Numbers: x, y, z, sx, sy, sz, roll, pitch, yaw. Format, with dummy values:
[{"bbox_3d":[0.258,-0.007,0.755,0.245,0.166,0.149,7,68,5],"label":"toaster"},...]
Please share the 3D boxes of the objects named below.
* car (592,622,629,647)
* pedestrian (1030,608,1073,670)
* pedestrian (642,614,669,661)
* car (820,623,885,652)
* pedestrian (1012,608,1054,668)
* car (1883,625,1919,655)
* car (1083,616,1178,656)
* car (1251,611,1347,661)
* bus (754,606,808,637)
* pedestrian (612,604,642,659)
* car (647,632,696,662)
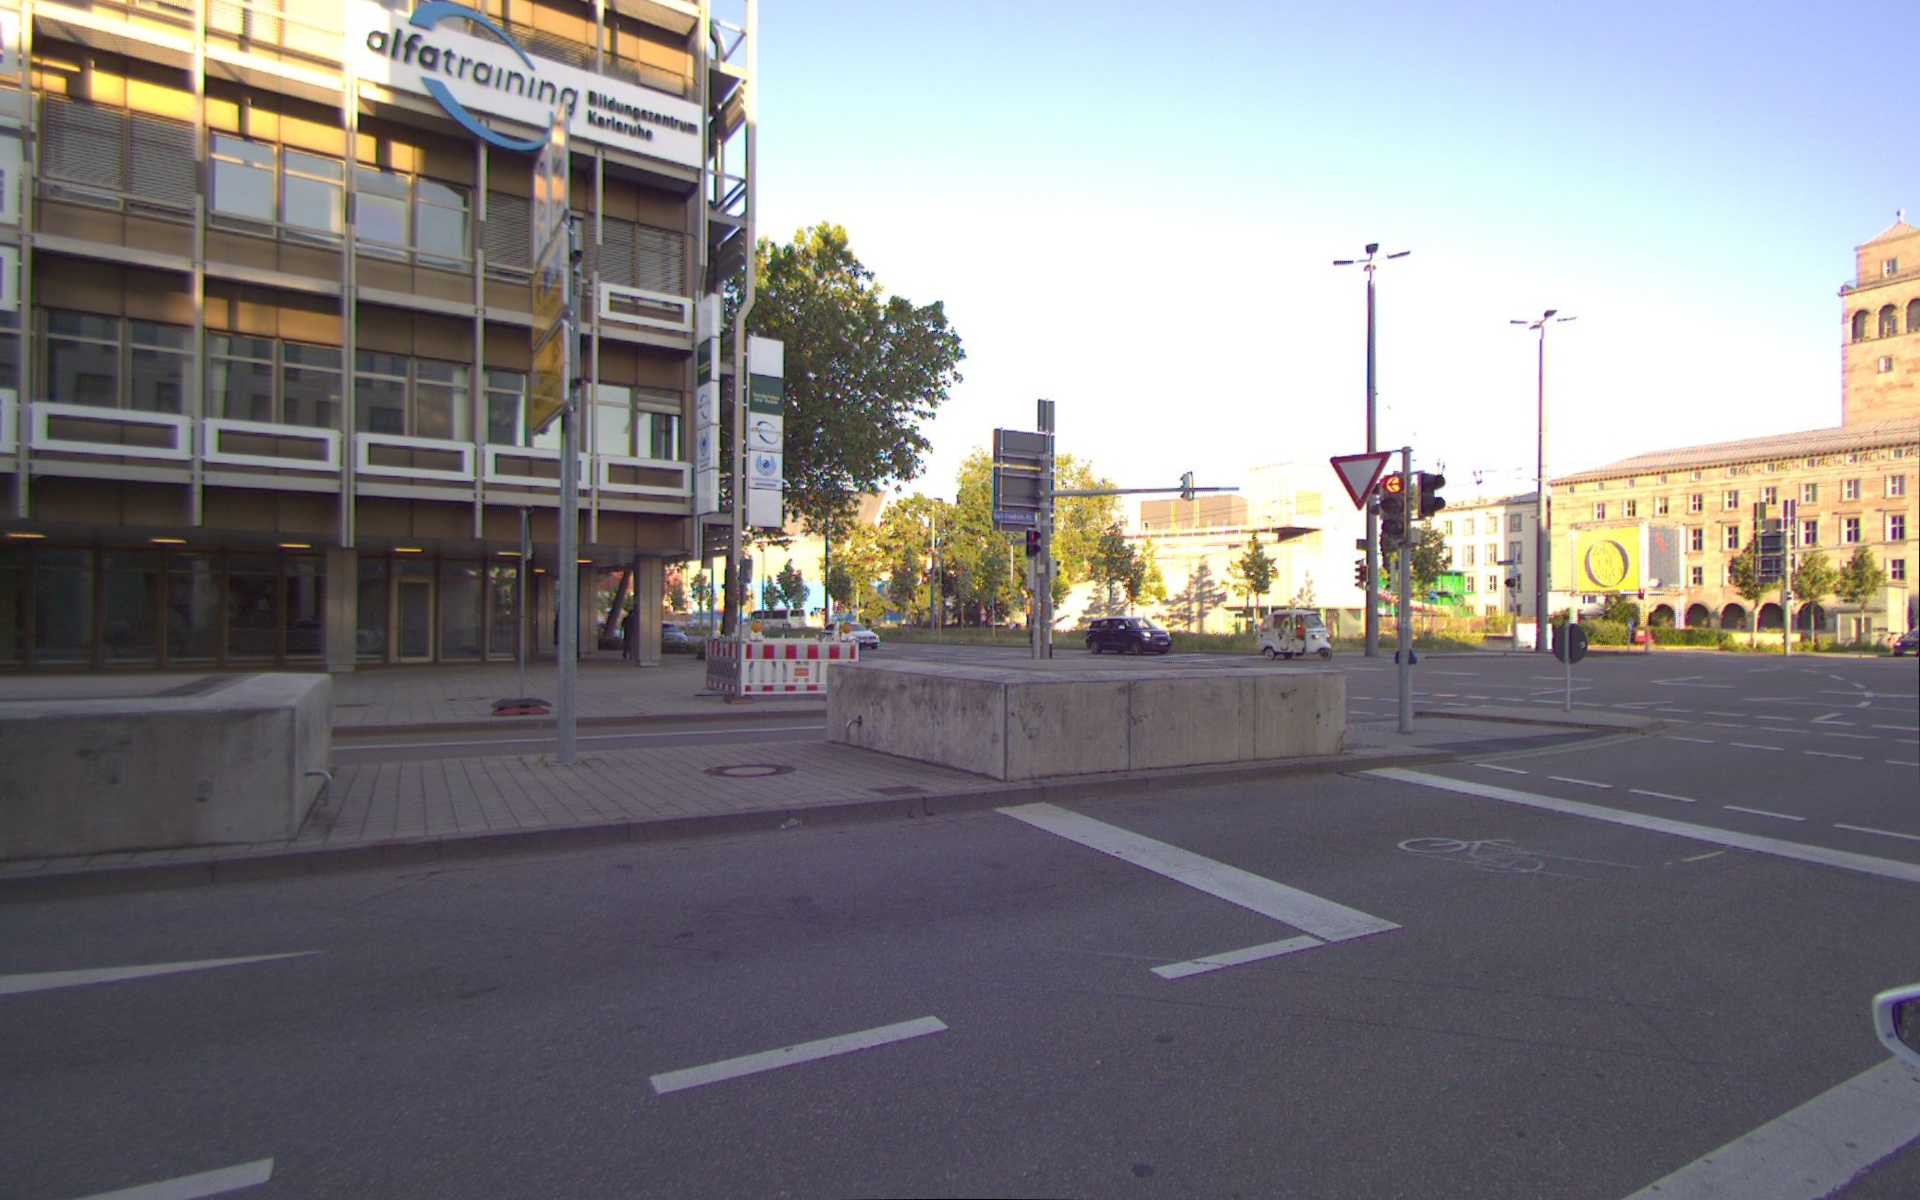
[{"bbox_3d":[-24.368,2.383,69.941,1.722,1.605,3.764,0,-1,-31],"label":"car"},{"bbox_3d":[2.636,1.124,28.912,0.949,1.744,0.816,1,-1,-34],"label":"pedestrian"},{"bbox_3d":[-10.508,1.294,34.661,0.660,1.606,0.715,2,0,-34],"label":"pedestrian"},{"bbox_3d":[-6.034,2.052,55.844,1.830,1.476,4.552,0,-1,-32],"label":"car"},{"bbox_3d":[2.167,1.113,29.682,0.949,1.744,0.816,1,-1,-34],"label":"pedestrian"},{"bbox_3d":[51.263,2.116,53.666,4.111,1.485,1.813,0,-1,-32],"label":"car"},{"bbox_3d":[7.334,1.520,43.509,1.727,1.626,4.093,1,-1,-35],"label":"car"},{"bbox_3d":[12.105,1.252,35.934,1.478,1.718,2.935,1,-1,-44],"label":"car"},{"bbox_3d":[-23.285,2.807,130.185,2.959,3.818,10.341,1,-1,-34],"label":"bus"},{"bbox_3d":[-11.304,1.069,34.093,0.749,1.830,0.715,2,0,-35],"label":"pedestrian"},{"bbox_3d":[-16.950,2.734,58.861,1.722,1.605,4.554,0,-1,-30],"label":"car"}]
